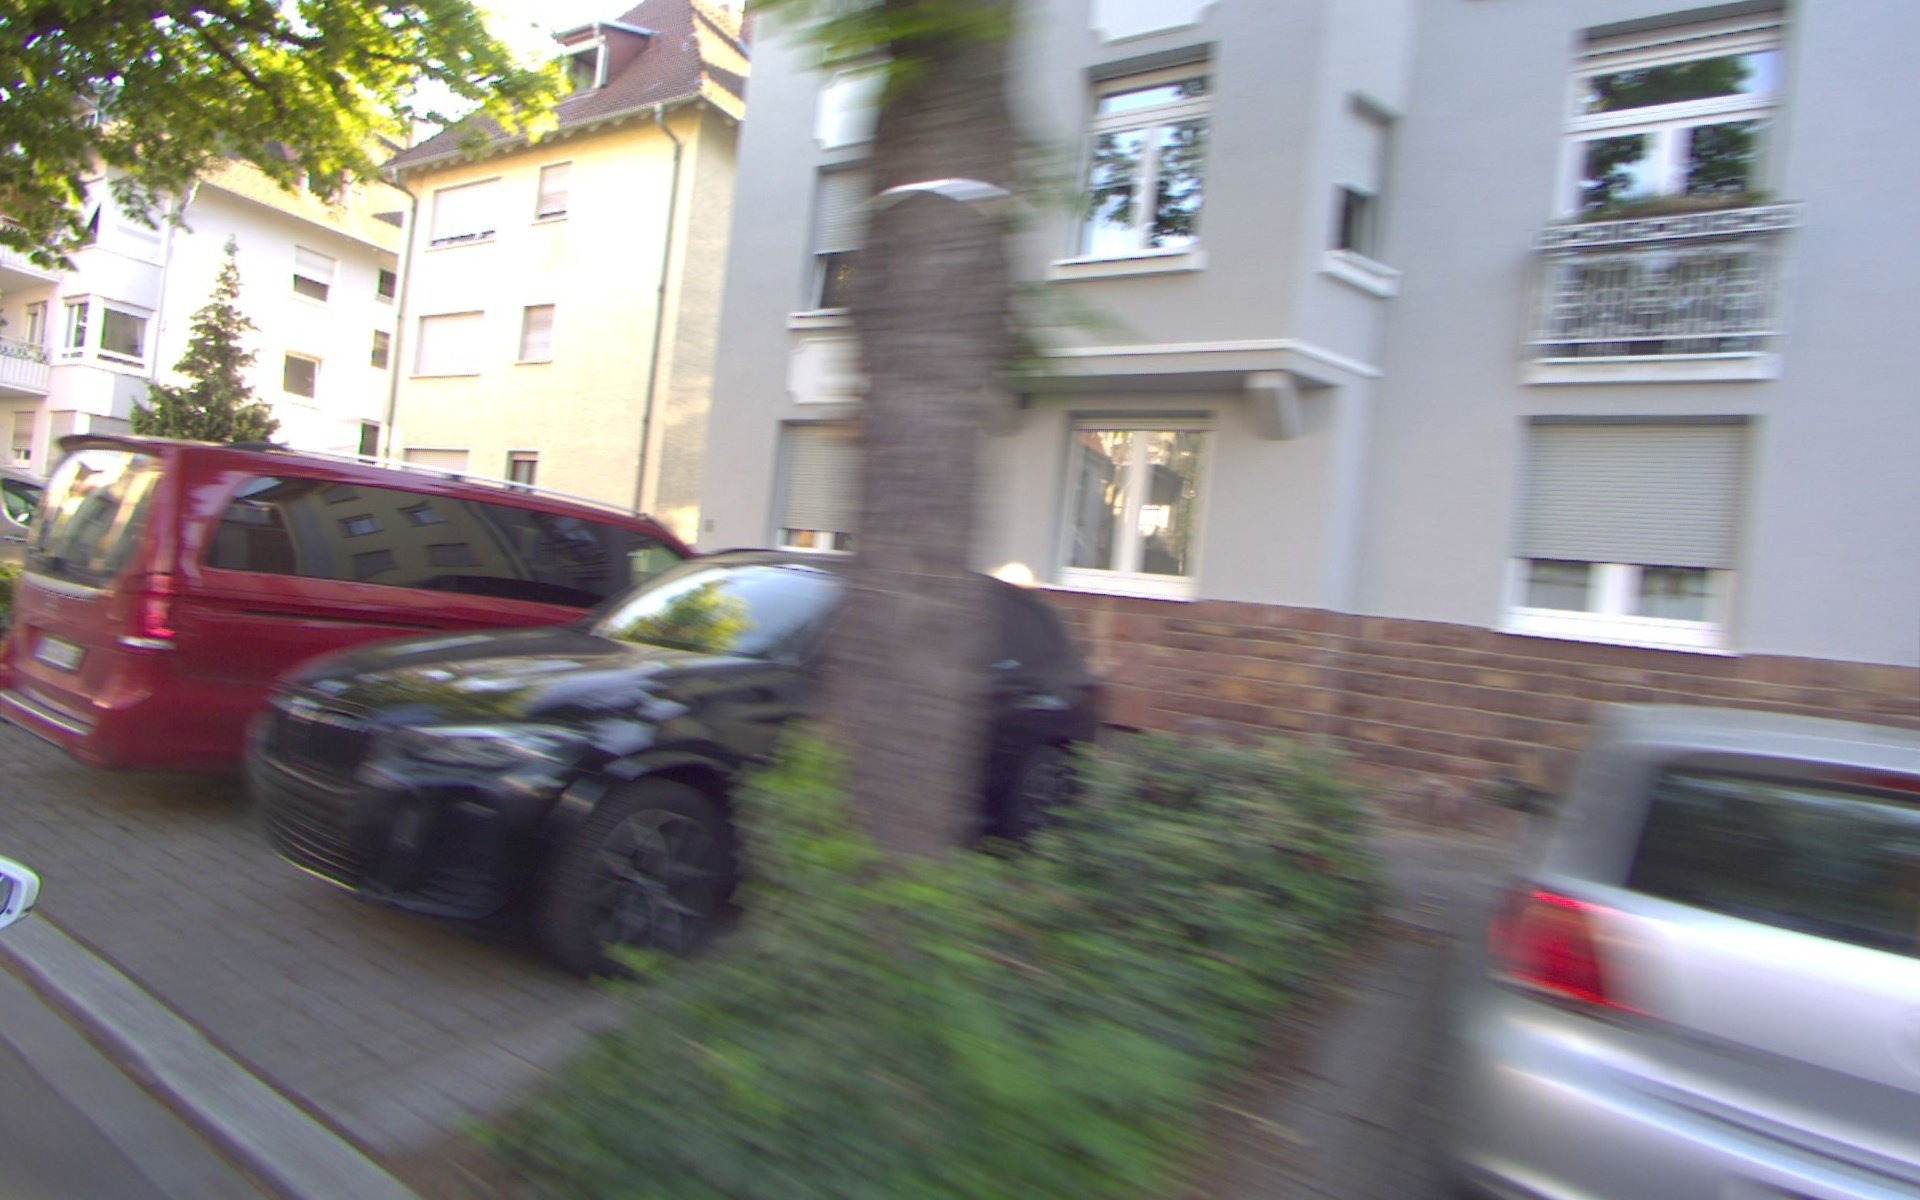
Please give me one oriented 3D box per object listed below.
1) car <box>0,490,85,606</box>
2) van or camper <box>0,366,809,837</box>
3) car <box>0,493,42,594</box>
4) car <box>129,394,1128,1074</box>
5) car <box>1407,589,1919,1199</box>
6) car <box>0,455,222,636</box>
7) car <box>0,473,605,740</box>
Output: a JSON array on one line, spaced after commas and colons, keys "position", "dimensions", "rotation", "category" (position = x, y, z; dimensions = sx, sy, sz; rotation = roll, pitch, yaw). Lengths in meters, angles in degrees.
[{"position": [-14.624, -0.920, 13.744], "dimensions": [1.622, 1.560, 3.602], "rotation": [7, -1, 30], "category": "car"}, {"position": [-3.302, 0.153, 6.661], "dimensions": [1.968, 2.036, 4.319], "rotation": [6, -2, 34], "category": "van or camper"}, {"position": [-16.566, -1.106, 15.172], "dimensions": [1.622, 1.560, 3.602], "rotation": [7, -1, 30], "category": "car"}, {"position": [-0.983, 0.513, 5.225], "dimensions": [1.921, 1.857, 4.636], "rotation": [6, -2, 31], "category": "car"}, {"position": [2.641, 1.044, 3.239], "dimensions": [1.714, 1.586, 3.821], "rotation": [7, -2, 31], "category": "car"}, {"position": [-11.712, -0.762, 12.018], "dimensions": [1.859, 1.944, 4.138], "rotation": [7, -1, 30], "category": "car"}, {"position": [-5.149, 0.157, 8.241], "dimensions": [1.765, 1.607, 3.785], "rotation": [7, -2, 34], "category": "car"}]
